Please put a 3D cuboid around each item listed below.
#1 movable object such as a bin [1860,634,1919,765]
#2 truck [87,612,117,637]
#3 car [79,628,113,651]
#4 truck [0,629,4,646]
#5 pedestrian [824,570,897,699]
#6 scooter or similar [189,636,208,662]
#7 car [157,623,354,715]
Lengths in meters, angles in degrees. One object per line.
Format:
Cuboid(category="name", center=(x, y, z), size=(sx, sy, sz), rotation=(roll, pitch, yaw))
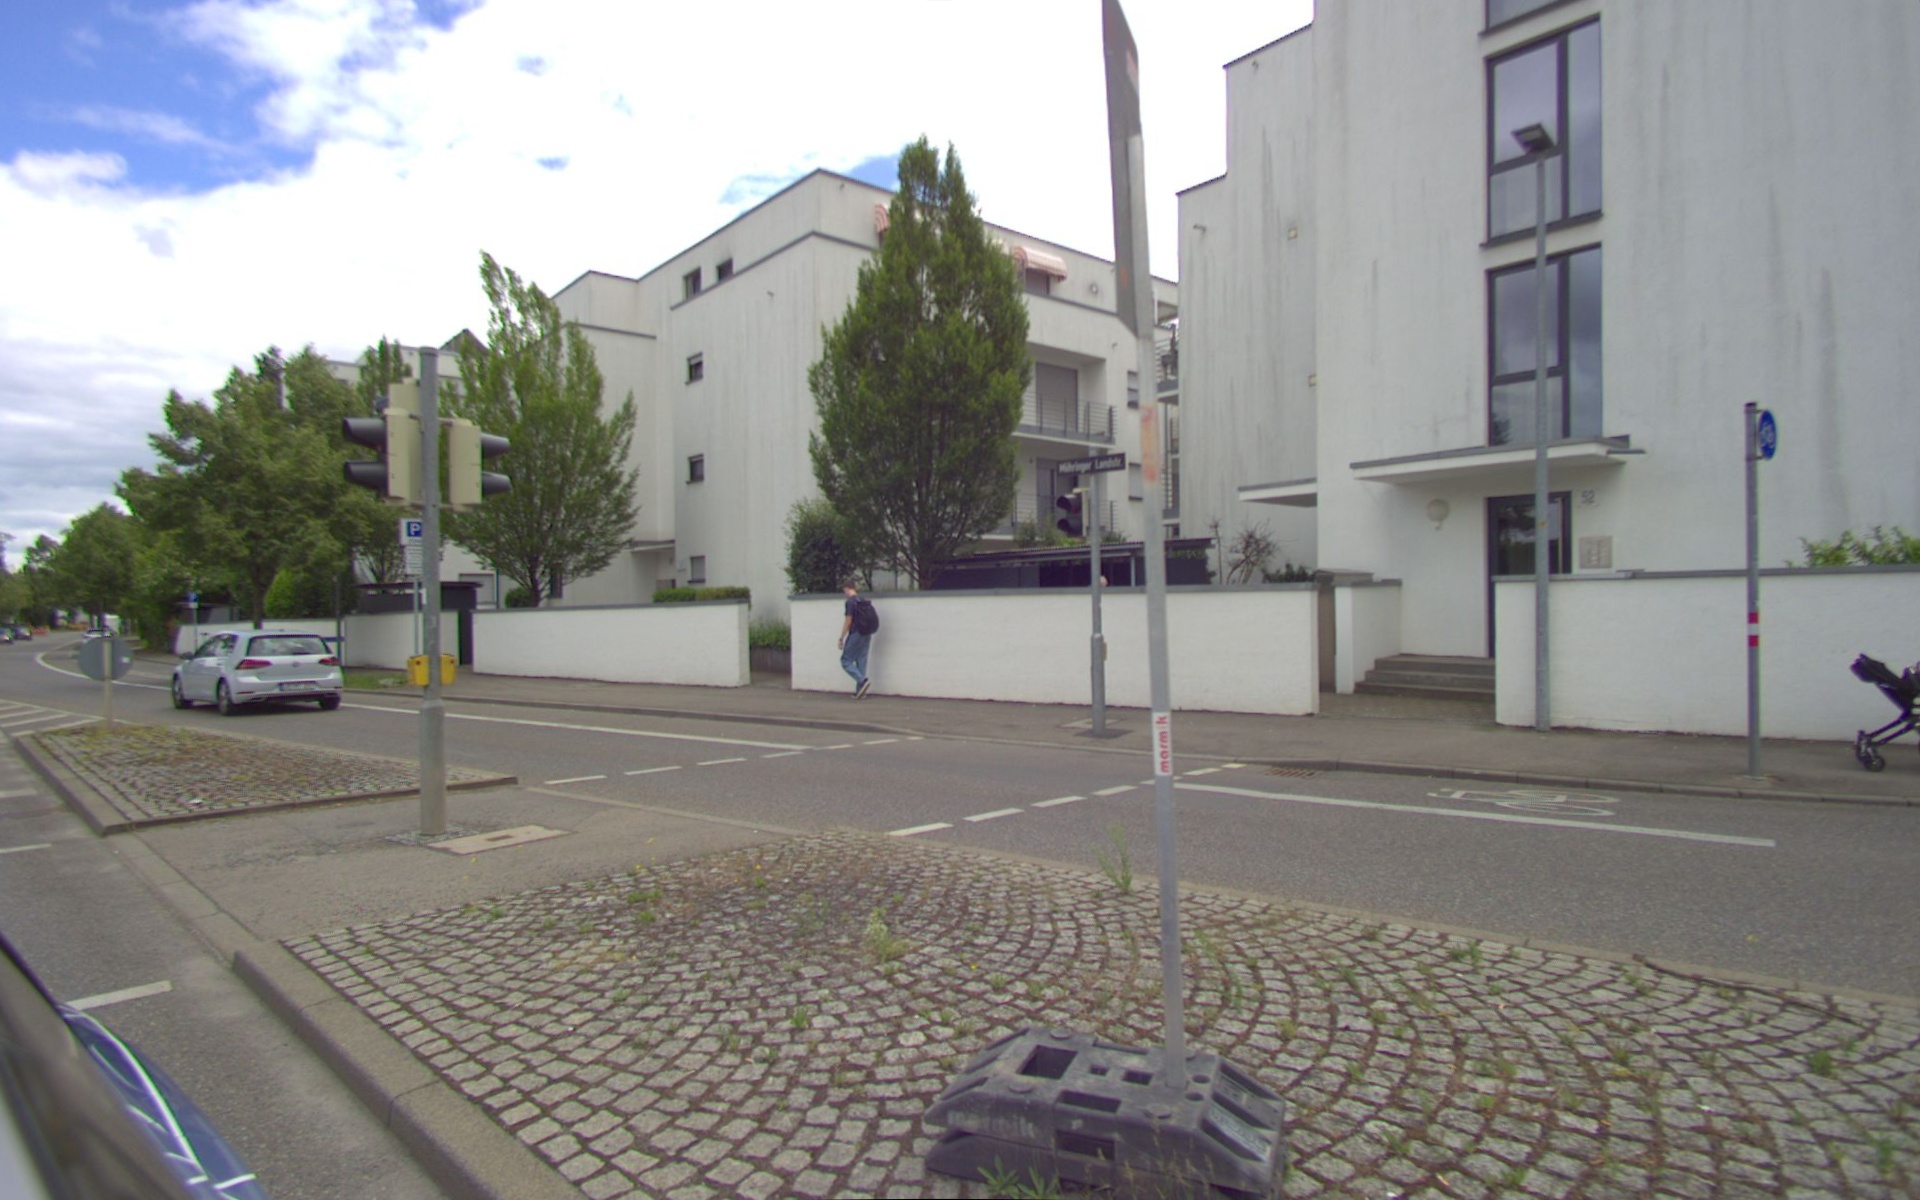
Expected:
Cuboid(category="movable object such as a bin", center=(7.740, 0.775, 7.914), size=(0.984, 0.967, 0.493), rotation=(-1, 4, 36))
Cuboid(category="truck", center=(-99.839, 2.877, 117.784), size=(2.602, 2.794, 6.267), rotation=(-1, 0, -40))
Cuboid(category="car", center=(-65.554, 2.946, 76.824), size=(1.888, 1.665, 4.007), rotation=(0, -1, -39))
Cuboid(category="truck", center=(-96.448, 3.749, 100.774), size=(1.595, 1.671, 4.005), rotation=(0, -2, -41))
Cuboid(category="pedestrian", center=(-1.588, 0.533, 16.130), size=(0.871, 1.962, 0.642), rotation=(-1, 2, 39))
Cuboid(category="scooter or similar", center=(-35.076, 2.253, 46.608), size=(1.328, 1.174, 0.428), rotation=(-2, 2, 45))
Cuboid(category="car", center=(-12.735, 1.160, 18.225), size=(3.941, 1.455, 1.782), rotation=(-1, -1, 37))
